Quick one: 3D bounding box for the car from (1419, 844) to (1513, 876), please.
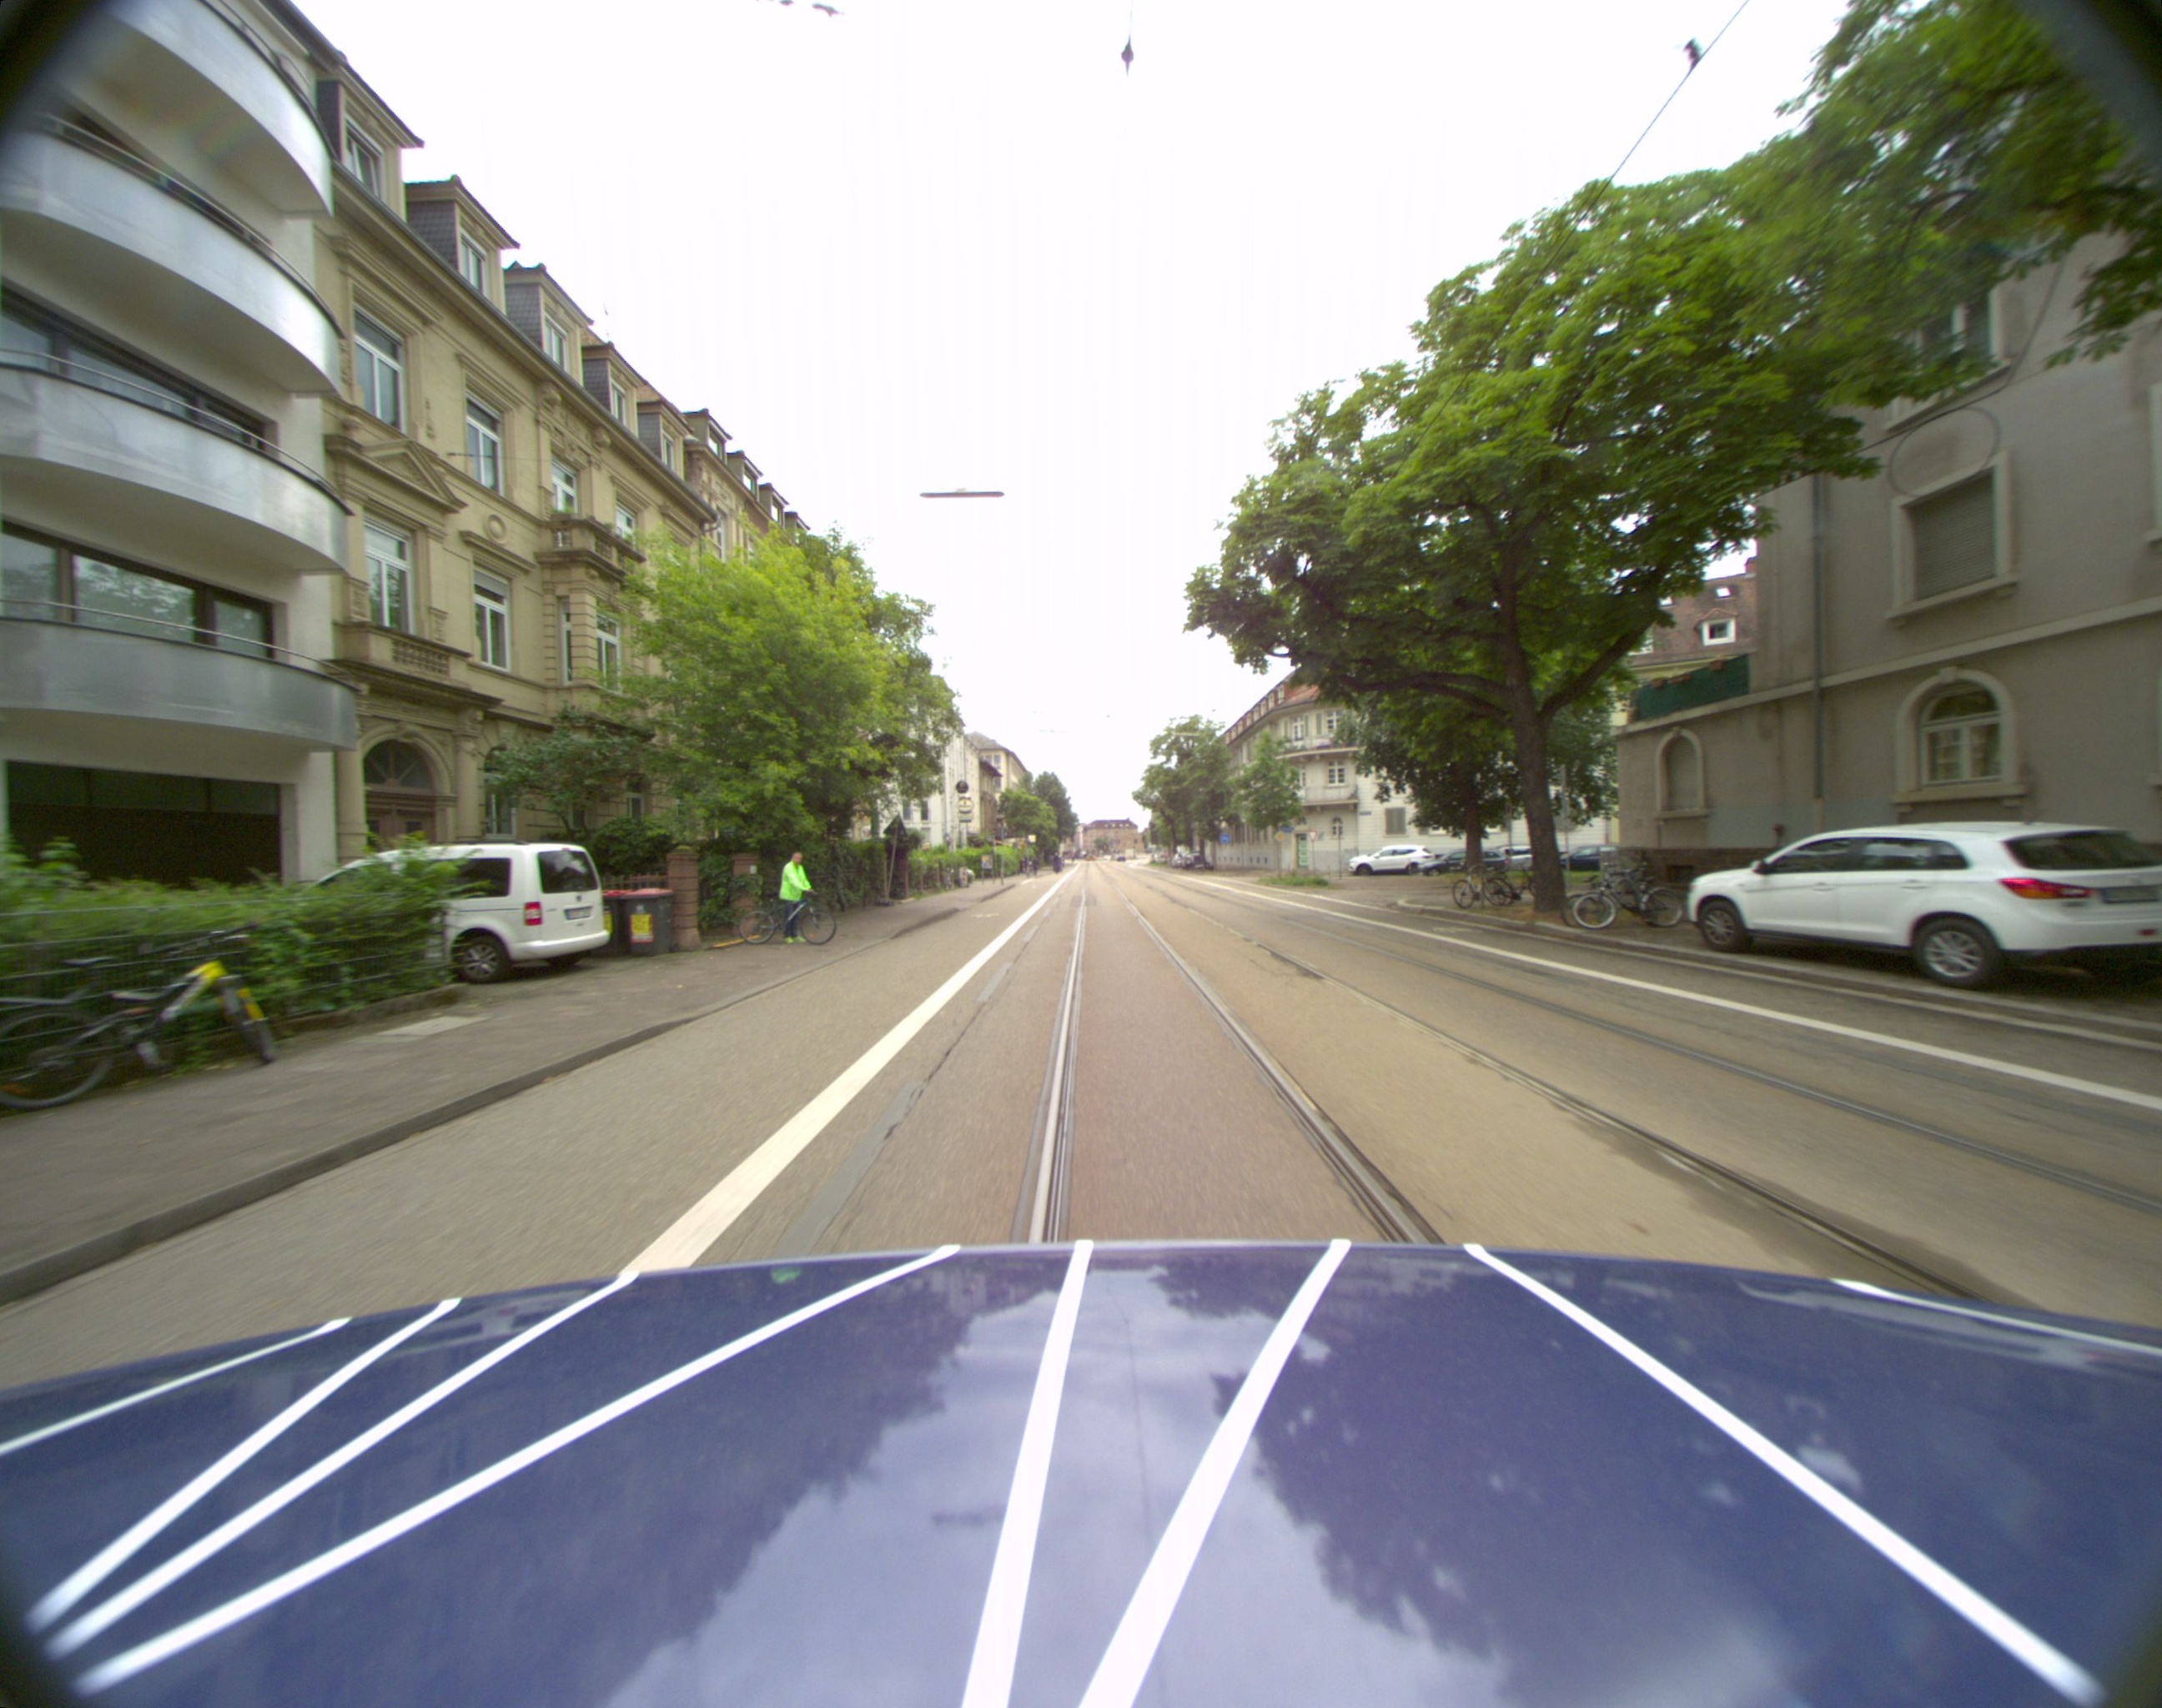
[{"bbox_3d":[19.113,0.325,37.756,4.060,1.402,1.665,-3,0,30],"label":"car"}]

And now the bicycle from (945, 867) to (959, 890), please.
[{"bbox_3d":[-6.107,1.149,35.968,0.302,1.035,1.848,-2,0,1],"label":"bicycle"}]

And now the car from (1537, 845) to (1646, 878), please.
[{"bbox_3d":[23.681,0.366,35.439,4.000,1.338,1.668,-3,0,27],"label":"car"}]

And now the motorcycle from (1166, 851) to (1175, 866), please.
[{"bbox_3d":[9.701,0.480,82.578,0.834,1.633,2.481,-2,0,9],"label":"motorcycle"}]

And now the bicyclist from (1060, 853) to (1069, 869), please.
[{"bbox_3d":[-1.718,0.709,78.299,0.775,1.681,0.869,-2,0,10],"label":"bicyclist"}]

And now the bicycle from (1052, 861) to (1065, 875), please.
[{"bbox_3d":[-2.074,1.292,71.108,0.853,1.234,2.310,-2,0,5],"label":"bicycle"}]

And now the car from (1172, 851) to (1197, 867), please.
[{"bbox_3d":[10.121,0.513,74.745,1.816,1.457,4.614,-3,0,0],"label":"car"}]

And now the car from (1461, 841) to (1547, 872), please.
[{"bbox_3d":[23.145,0.118,41.715,4.038,1.504,1.741,-3,0,27],"label":"car"}]

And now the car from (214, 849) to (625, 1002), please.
[{"bbox_3d":[-8.803,0.893,10.398,3.997,1.847,1.809,-1,0,0],"label":"car"}]

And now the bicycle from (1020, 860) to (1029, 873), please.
[{"bbox_3d":[-5.070,1.102,68.007,0.634,1.121,1.812,0,-1,0],"label":"bicycle"}]

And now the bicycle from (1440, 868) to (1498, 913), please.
[{"bbox_3d":[8.962,0.828,17.613,0.485,0.952,1.397,-2,0,-7],"label":"bicycle"}]

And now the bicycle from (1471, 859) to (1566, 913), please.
[{"bbox_3d":[9.946,0.715,17.381,0.677,1.129,1.934,-2,-1,-16],"label":"bicycle"}]

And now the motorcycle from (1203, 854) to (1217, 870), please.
[{"bbox_3d":[10.122,0.624,59.662,0.541,1.250,2.141,-2,0,-6],"label":"motorcycle"}]

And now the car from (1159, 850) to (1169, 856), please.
[{"bbox_3d":[22.897,-0.302,208.880,1.757,1.490,4.006,-1,1,23],"label":"car"}]

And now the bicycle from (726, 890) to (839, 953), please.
[{"bbox_3d":[-5.531,1.250,14.131,1.845,1.069,0.606,2,0,0],"label":"bicycle"}]

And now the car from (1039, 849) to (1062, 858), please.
[{"bbox_3d":[-6.095,-0.124,152.262,4.330,1.542,1.747,-2,0,-22],"label":"car"}]

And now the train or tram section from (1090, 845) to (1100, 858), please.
[{"bbox_3d":[3.935,-0.730,214.049,2.631,3.659,5.984,-2,0,-1],"label":"train or tram section"}]

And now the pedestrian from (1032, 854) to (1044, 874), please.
[{"bbox_3d":[-3.610,0.852,63.675,0.875,1.646,0.908,-2,0,-8],"label":"pedestrian"}]

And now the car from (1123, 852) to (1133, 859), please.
[{"bbox_3d":[9.977,0.344,161.237,1.733,1.400,3.655,-2,0,1],"label":"car"}]

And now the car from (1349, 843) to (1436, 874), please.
[{"bbox_3d":[18.175,0.292,44.358,4.505,1.653,1.942,-2,0,26],"label":"car"}]

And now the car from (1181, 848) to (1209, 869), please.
[{"bbox_3d":[9.996,0.408,66.979,1.842,1.651,4.294,-4,0,2],"label":"car"}]

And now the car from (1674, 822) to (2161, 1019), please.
[{"bbox_3d":[9.371,0.557,8.645,1.902,1.646,4.225,-2,0,0],"label":"car"}]

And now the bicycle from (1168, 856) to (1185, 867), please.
[{"bbox_3d":[10.625,0.788,84.208,1.744,1.122,0.518,-4,0,19],"label":"bicycle"}]

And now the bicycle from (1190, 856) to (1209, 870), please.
[{"bbox_3d":[9.729,0.750,62.500,1.379,0.999,0.930,-5,0,5],"label":"bicycle"}]

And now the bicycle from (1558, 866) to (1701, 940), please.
[{"bbox_3d":[9.295,0.819,12.916,1.927,1.114,0.624,-4,1,1],"label":"bicycle"}]

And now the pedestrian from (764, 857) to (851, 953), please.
[{"bbox_3d":[-5.179,0.944,14.471,1.232,1.723,1.018,2,0,0],"label":"pedestrian"}]

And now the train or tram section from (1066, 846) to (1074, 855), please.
[{"bbox_3d":[-3.549,-1.074,246.397,2.609,2.936,4.965,-2,0,-1],"label":"train or tram section"}]

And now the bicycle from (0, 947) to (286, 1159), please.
[{"bbox_3d":[-6.494,1.257,5.184,0.480,1.039,1.531,-1,0,1],"label":"bicycle"}]

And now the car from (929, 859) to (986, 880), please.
[{"bbox_3d":[-9.180,1.163,56.559,3.812,1.422,1.674,-2,-1,23],"label":"car"}]

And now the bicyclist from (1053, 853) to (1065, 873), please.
[{"bbox_3d":[-2.052,0.868,71.268,0.881,1.811,1.479,-2,-1,5],"label":"bicyclist"}]

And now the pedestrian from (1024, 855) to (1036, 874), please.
[{"bbox_3d":[-4.384,0.905,65.684,0.794,1.627,0.837,0,2,16],"label":"pedestrian"}]

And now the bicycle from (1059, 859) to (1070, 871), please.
[{"bbox_3d":[-1.718,1.141,78.241,0.775,1.205,1.870,-2,0,10],"label":"bicycle"}]
